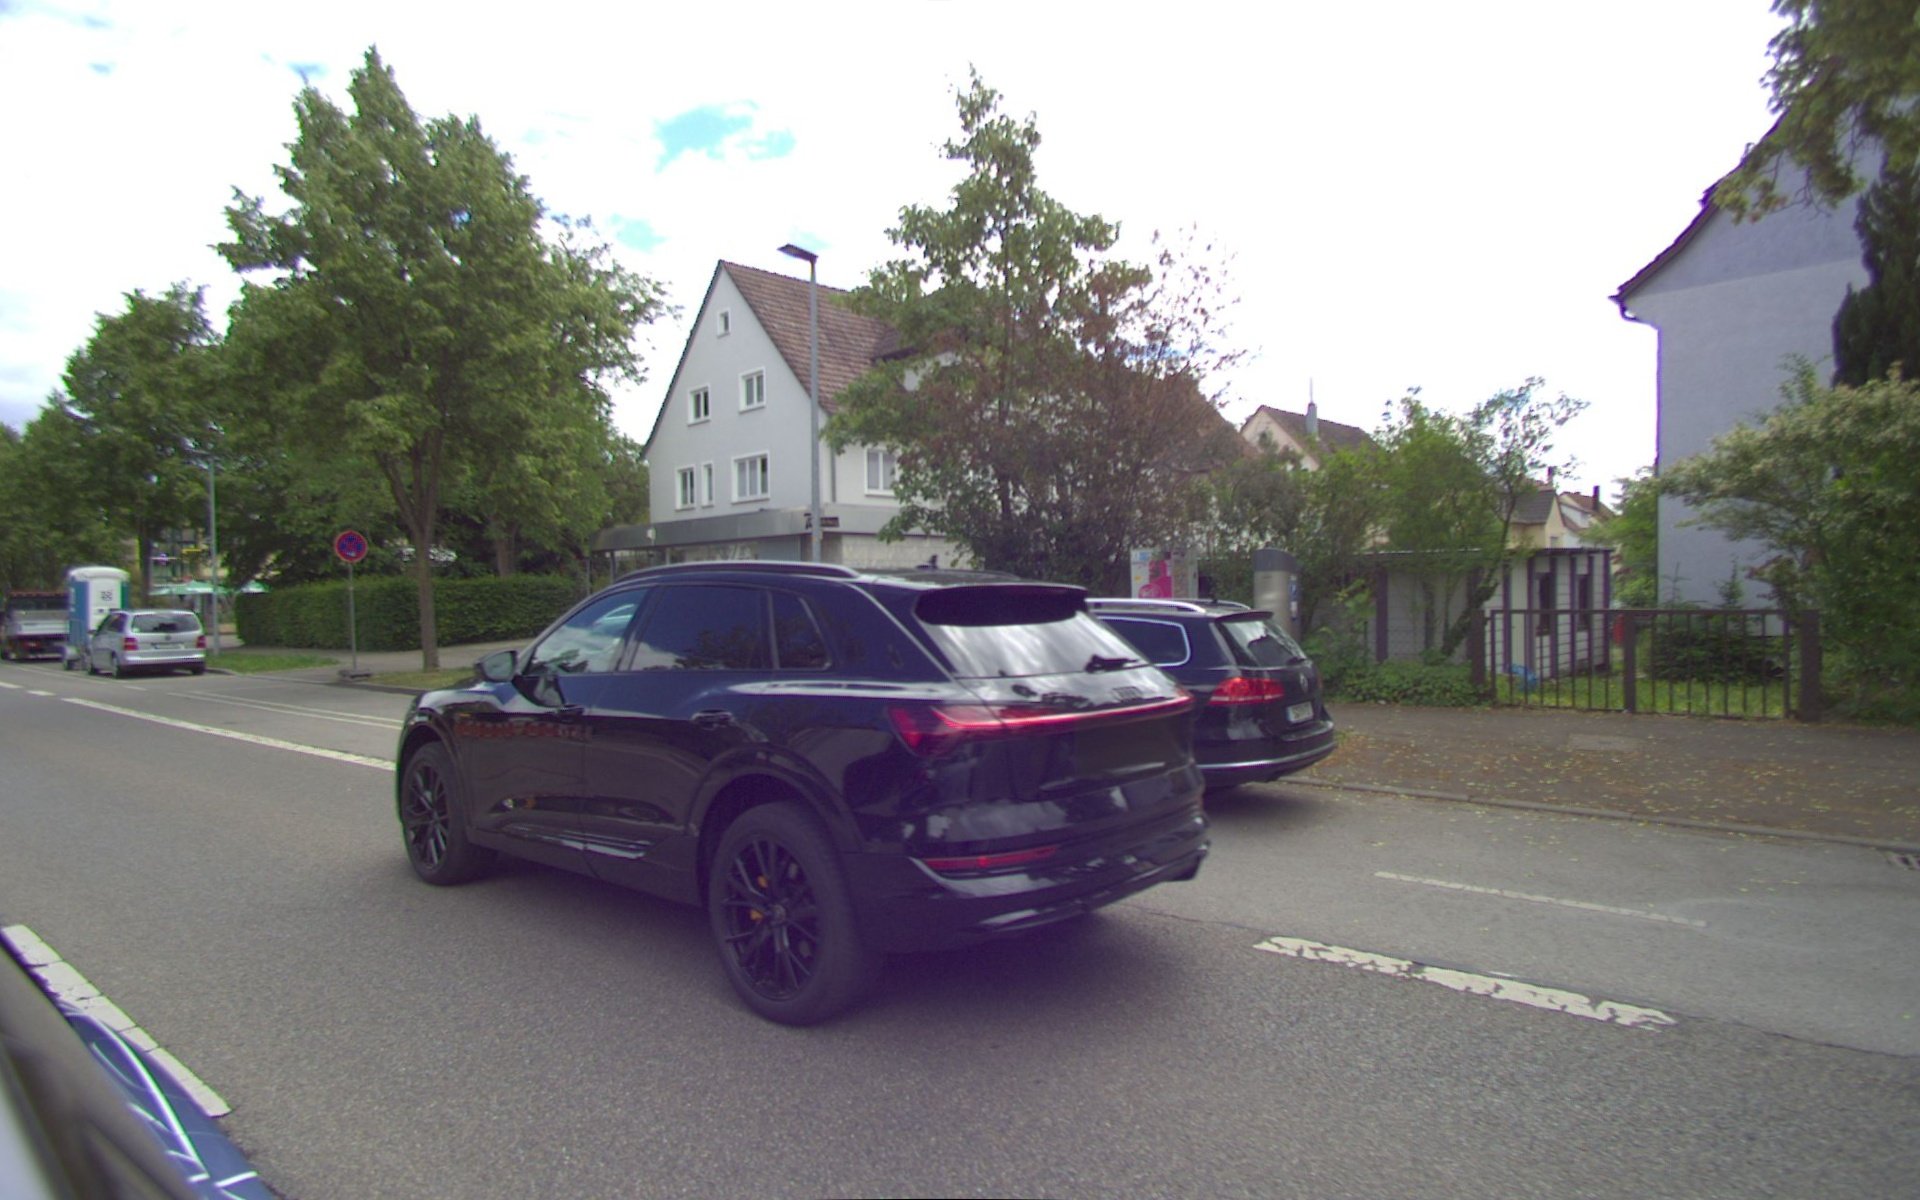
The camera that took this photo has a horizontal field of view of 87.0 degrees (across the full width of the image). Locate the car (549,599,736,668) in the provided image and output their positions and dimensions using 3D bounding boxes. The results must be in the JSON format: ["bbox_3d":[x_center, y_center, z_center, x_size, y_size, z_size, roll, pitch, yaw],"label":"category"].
[{"bbox_3d":[-7.841,0.788,25.199,4.032,1.444,1.802,-2,0,-44],"label":"car"}]

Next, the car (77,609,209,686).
[{"bbox_3d":[-20.009,1.074,24.722,4.221,1.696,1.672,0,0,39],"label":"car"}]

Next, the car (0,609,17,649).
[{"bbox_3d":[-46.588,1.374,48.522,4.398,1.888,1.688,-1,-1,43],"label":"car"}]

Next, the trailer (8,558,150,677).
[{"bbox_3d":[-25.162,0.498,28.781,7.010,2.985,2.346,-1,-1,43],"label":"trailer"}]

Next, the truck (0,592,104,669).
[{"bbox_3d":[-30.136,0.961,33.297,6.463,2.304,2.270,-1,-1,43],"label":"truck"}]

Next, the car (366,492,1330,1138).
[{"bbox_3d":[-0.859,0.612,4.874,4.584,1.680,1.974,-1,-2,39],"label":"car"}]
